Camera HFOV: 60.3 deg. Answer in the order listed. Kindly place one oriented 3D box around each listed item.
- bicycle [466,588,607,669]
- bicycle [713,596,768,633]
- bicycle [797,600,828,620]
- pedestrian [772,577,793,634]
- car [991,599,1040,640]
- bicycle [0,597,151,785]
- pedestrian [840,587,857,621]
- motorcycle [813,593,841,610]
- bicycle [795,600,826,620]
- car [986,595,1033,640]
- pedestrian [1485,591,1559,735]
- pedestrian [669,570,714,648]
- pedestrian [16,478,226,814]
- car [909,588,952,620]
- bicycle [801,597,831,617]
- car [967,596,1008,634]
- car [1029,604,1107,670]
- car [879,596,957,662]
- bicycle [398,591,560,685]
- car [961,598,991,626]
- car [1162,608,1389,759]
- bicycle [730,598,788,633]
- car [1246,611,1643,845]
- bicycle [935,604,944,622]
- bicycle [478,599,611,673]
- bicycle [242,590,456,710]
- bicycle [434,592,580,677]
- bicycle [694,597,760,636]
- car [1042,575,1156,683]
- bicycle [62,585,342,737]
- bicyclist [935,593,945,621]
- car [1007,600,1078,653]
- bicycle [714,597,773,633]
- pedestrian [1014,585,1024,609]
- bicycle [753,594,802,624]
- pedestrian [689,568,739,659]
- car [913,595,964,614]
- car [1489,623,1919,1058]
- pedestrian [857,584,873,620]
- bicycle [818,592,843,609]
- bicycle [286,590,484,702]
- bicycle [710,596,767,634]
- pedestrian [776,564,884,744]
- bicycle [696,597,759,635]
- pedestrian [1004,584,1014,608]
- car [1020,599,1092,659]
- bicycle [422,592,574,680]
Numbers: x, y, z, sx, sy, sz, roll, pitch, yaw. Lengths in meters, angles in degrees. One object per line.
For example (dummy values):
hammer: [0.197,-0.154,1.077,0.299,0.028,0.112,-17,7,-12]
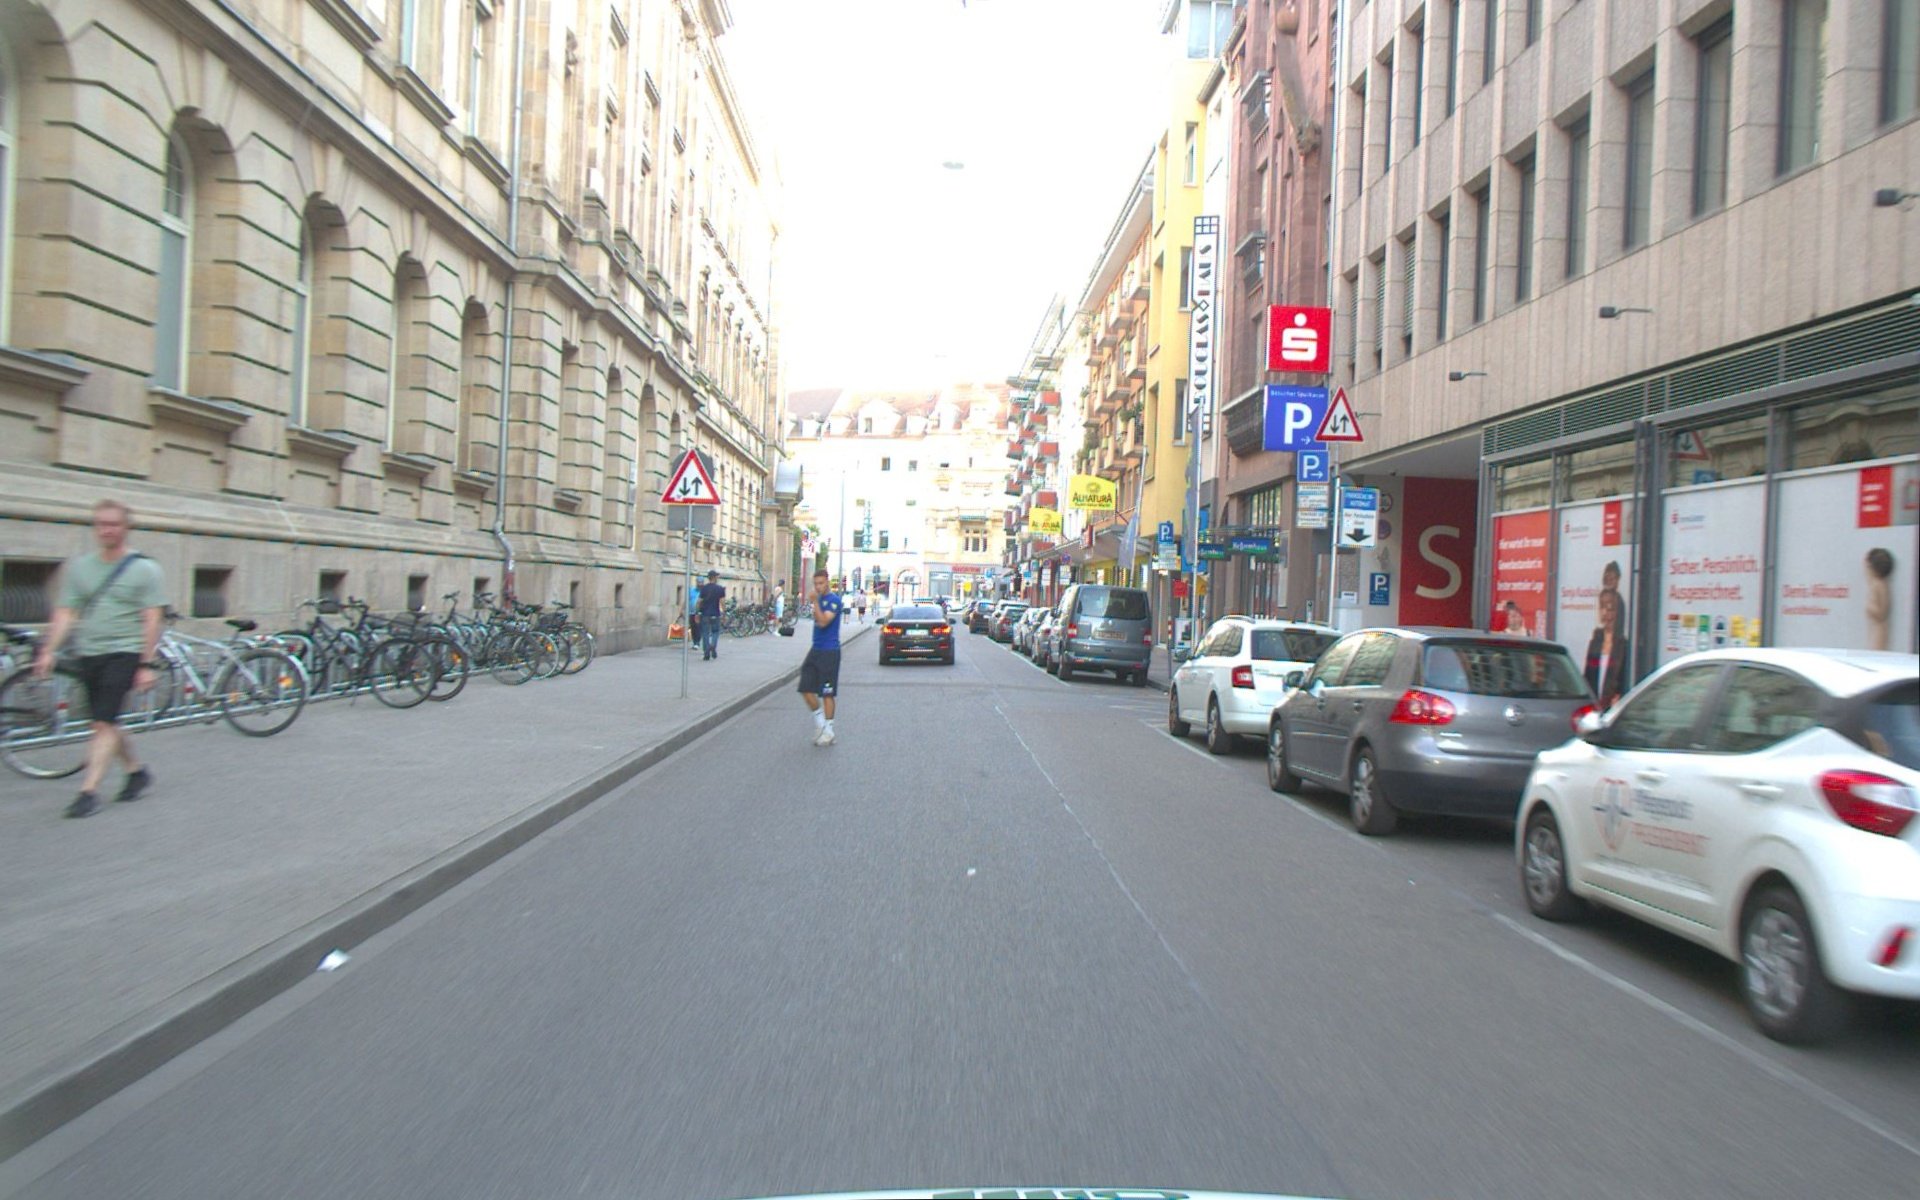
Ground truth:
bicycle: [-6.473,0.437,25.342,1.898,1.097,0.747,4,-1,-3]
bicycle: [-7.319,0.484,55.265,1.760,1.127,0.499,3,-1,-8]
bicycle: [-8.765,0.586,98.372,1.758,1.127,0.500,2,0,-2]
pedestrian: [-5.950,0.177,55.347,0.577,1.883,0.753,4,0,-7]
car: [2.177,0.765,66.352,1.657,1.439,4.755,4,0,-1]
bicycle: [-6.188,0.523,10.238,1.990,1.097,0.726,4,-1,-21]
pedestrian: [-6.152,0.210,91.311,0.726,1.844,1.008,4,0,-2]
motorcycle: [-9.302,0.101,115.735,1.764,1.082,0.764,3,0,24]
bicycle: [-8.900,0.583,98.714,1.758,1.127,0.500,2,0,-3]
car: [2.088,0.729,71.319,1.717,1.697,4.755,4,0,-1]
pedestrian: [6.644,0.734,19.577,0.635,1.664,0.650,0,0,-3]
pedestrian: [-6.353,0.207,39.144,0.812,1.776,0.769,4,0,-1]
pedestrian: [-4.809,0.253,9.531,0.703,1.811,0.800,3,0,-1]
car: [-1.430,0.197,82.178,1.838,1.498,4.001,1,0,2]
bicycle: [-8.768,0.431,100.894,1.757,1.127,0.500,3,0,1]
car: [1.364,0.702,80.447,1.757,1.637,4.488,4,0,3]
car: [2.768,0.924,43.227,1.652,1.478,4.497,4,0,0]
car: [-0.990,0.654,40.215,1.729,1.399,4.790,3,0,-1]
bicycle: [-6.370,0.499,21.990,1.901,1.097,0.729,4,-1,-9]
car: [1.048,0.759,110.031,1.729,1.670,4.789,4,0,-1]
car: [3.520,0.874,19.224,1.623,1.473,4.306,3,0,-2]
bicycle: [-6.937,0.537,57.133,1.899,1.080,0.619,3,-1,-4]
car: [3.624,0.871,13.252,1.624,1.473,4.442,3,0,-3]
bicycle: [-1.304,0.810,105.745,0.525,1.127,1.800,3,0,0]
bicycle: [-6.577,0.564,26.257,1.898,1.064,0.721,3,0,-6]
bicycle: [-6.310,0.510,17.178,1.901,1.097,0.729,4,-1,-9]
bicycle: [-6.574,0.501,24.072,1.901,1.097,0.729,4,-1,-9]
bicycle: [-7.125,0.505,50.602,1.898,1.080,0.619,3,-1,-3]
car: [2.948,0.606,36.142,1.809,2.094,5.052,3,0,-2]
bicycle: [-6.237,0.495,13.691,1.899,1.097,0.729,4,-1,-5]
bicyclist: [-1.288,0.451,105.724,0.513,1.787,0.620,3,0,0]
car: [2.622,0.821,53.510,1.658,1.435,4.635,4,0,-4]
bicycle: [-7.334,0.513,56.079,1.901,1.080,0.619,4,-1,-8]
pedestrian: [4.165,-0.241,116.858,0.635,1.690,0.794,-1,0,0]
bicycle: [-7.740,0.391,69.977,1.906,1.080,0.617,5,-1,-17]
pedestrian: [-4.980,0.269,33.523,0.793,1.781,0.969,3,-1,-1]
car: [-2.000,0.413,154.035,4.262,1.589,1.868,1,-1,21]
car: [3.949,0.905,7.714,1.623,1.473,3.868,3,0,-1]
pedestrian: [-5.280,0.124,91.620,0.729,1.926,1.050,3,0,-1]
bicycle: [-9.263,0.060,118.443,1.760,1.127,0.499,3,0,-7]
bicycle: [-6.355,0.504,18.366,1.901,1.097,0.729,4,-1,-9]
bicycle: [-7.239,0.484,54.067,1.760,1.127,0.499,3,-1,-8]
pedestrian: [-1.357,0.545,17.310,0.814,1.820,0.766,1,0,-43]
bicycle: [-7.272,0.490,51.847,1.901,1.080,0.619,3,-1,-8]
pedestrian: [3.474,-0.259,116.734,0.635,1.690,0.655,-1,0,0]
car: [2.752,0.811,48.341,1.586,1.542,4.172,4,0,-2]
bicycle: [-6.486,0.498,23.303,1.901,1.097,0.729,4,-1,-9]
